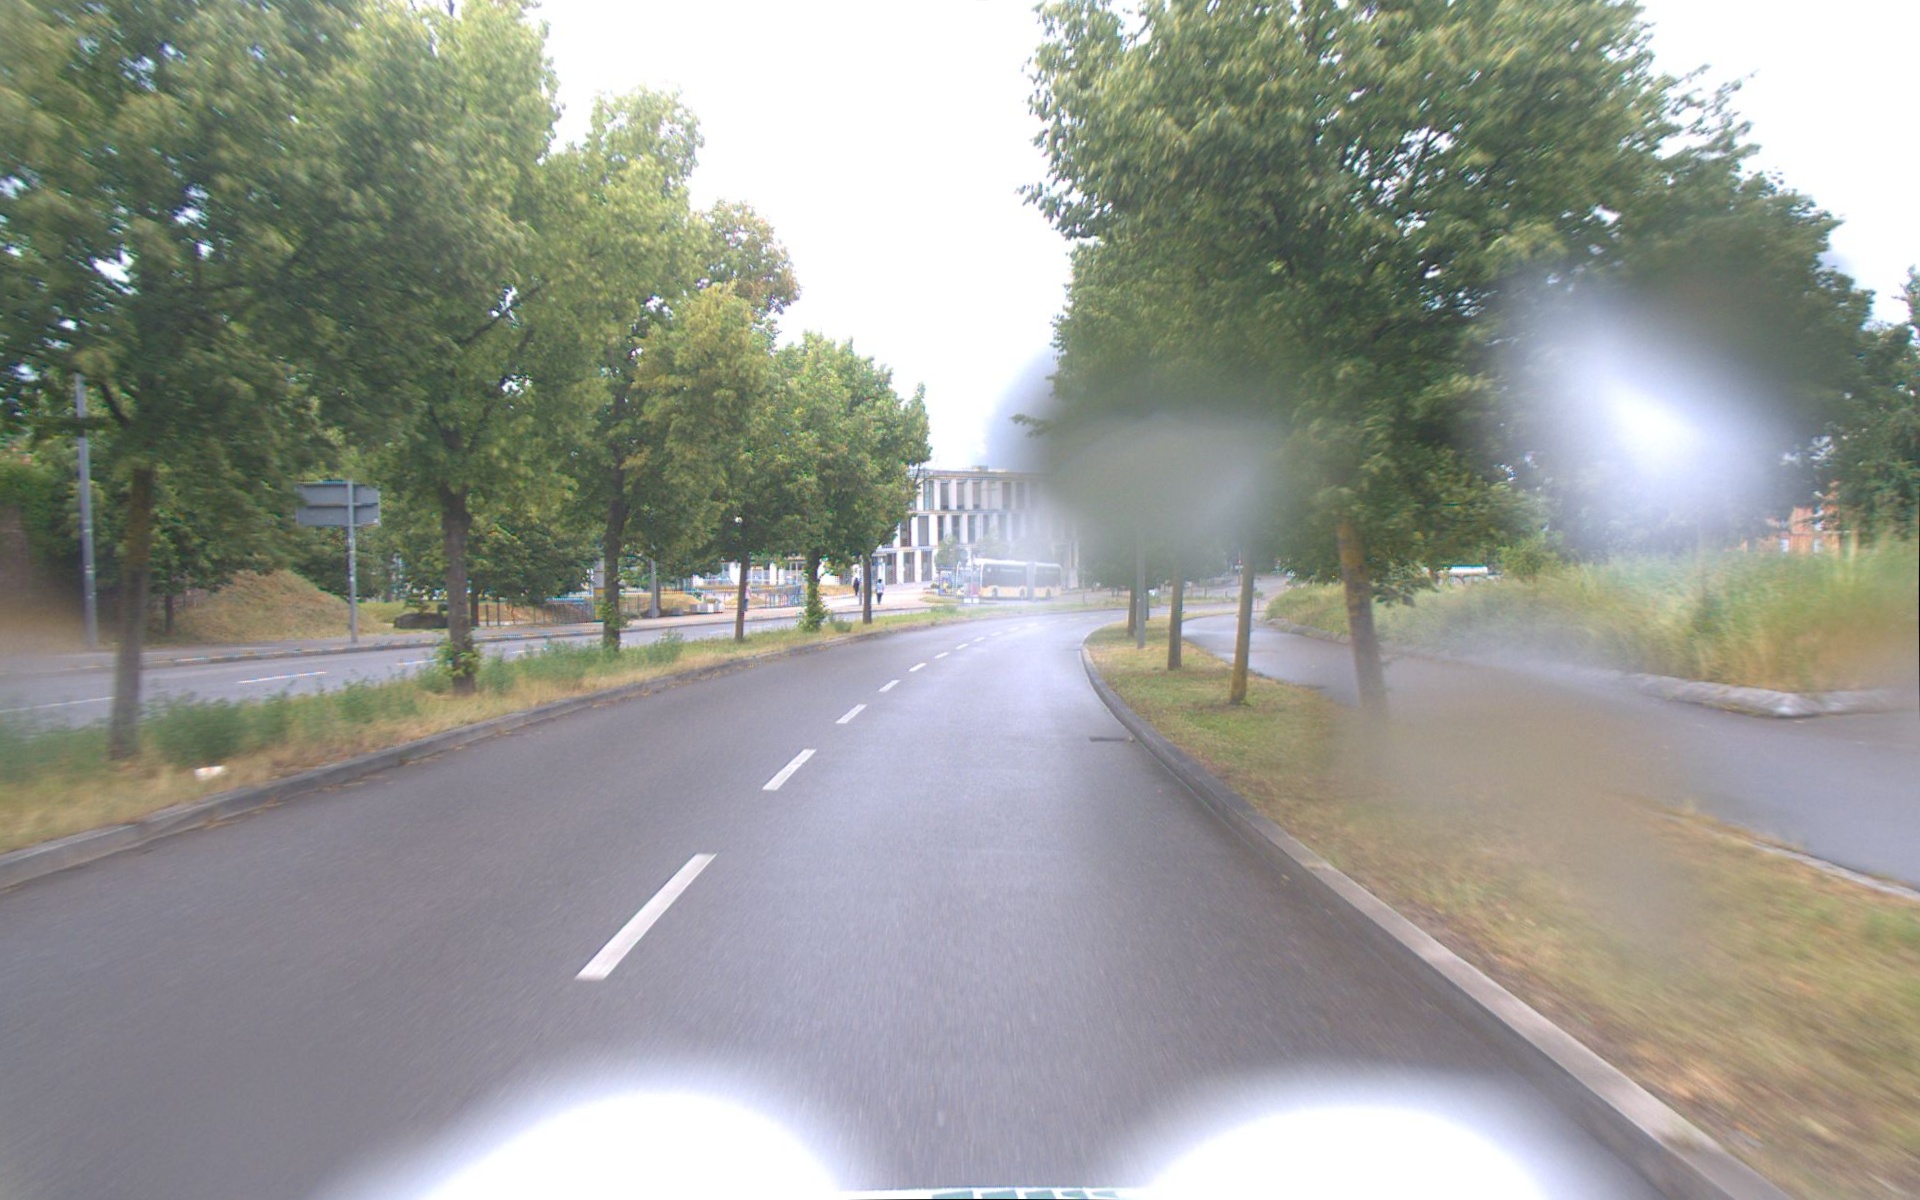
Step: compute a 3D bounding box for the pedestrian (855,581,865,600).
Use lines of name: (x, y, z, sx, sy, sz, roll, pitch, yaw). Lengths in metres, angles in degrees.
pedestrian: (-7.893, -0.755, 130.666, 0.668, 1.551, 0.719, 0, -1, 0)

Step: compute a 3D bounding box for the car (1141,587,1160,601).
car: (21.530, -0.639, 186.564, 1.448, 1.520, 2.529, 0, -1, 24)

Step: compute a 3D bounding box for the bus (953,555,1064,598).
bus: (4.567, -1.960, 147.403, 2.730, 3.416, 18.210, 0, -1, 26)

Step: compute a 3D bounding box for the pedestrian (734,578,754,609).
pedestrian: (-11.845, -0.356, 90.752, 0.796, 1.649, 0.936, 0, -1, 11)

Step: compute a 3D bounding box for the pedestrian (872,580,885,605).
pedestrian: (-5.331, -0.507, 108.017, 0.818, 1.601, 0.718, 0, -1, -6)
